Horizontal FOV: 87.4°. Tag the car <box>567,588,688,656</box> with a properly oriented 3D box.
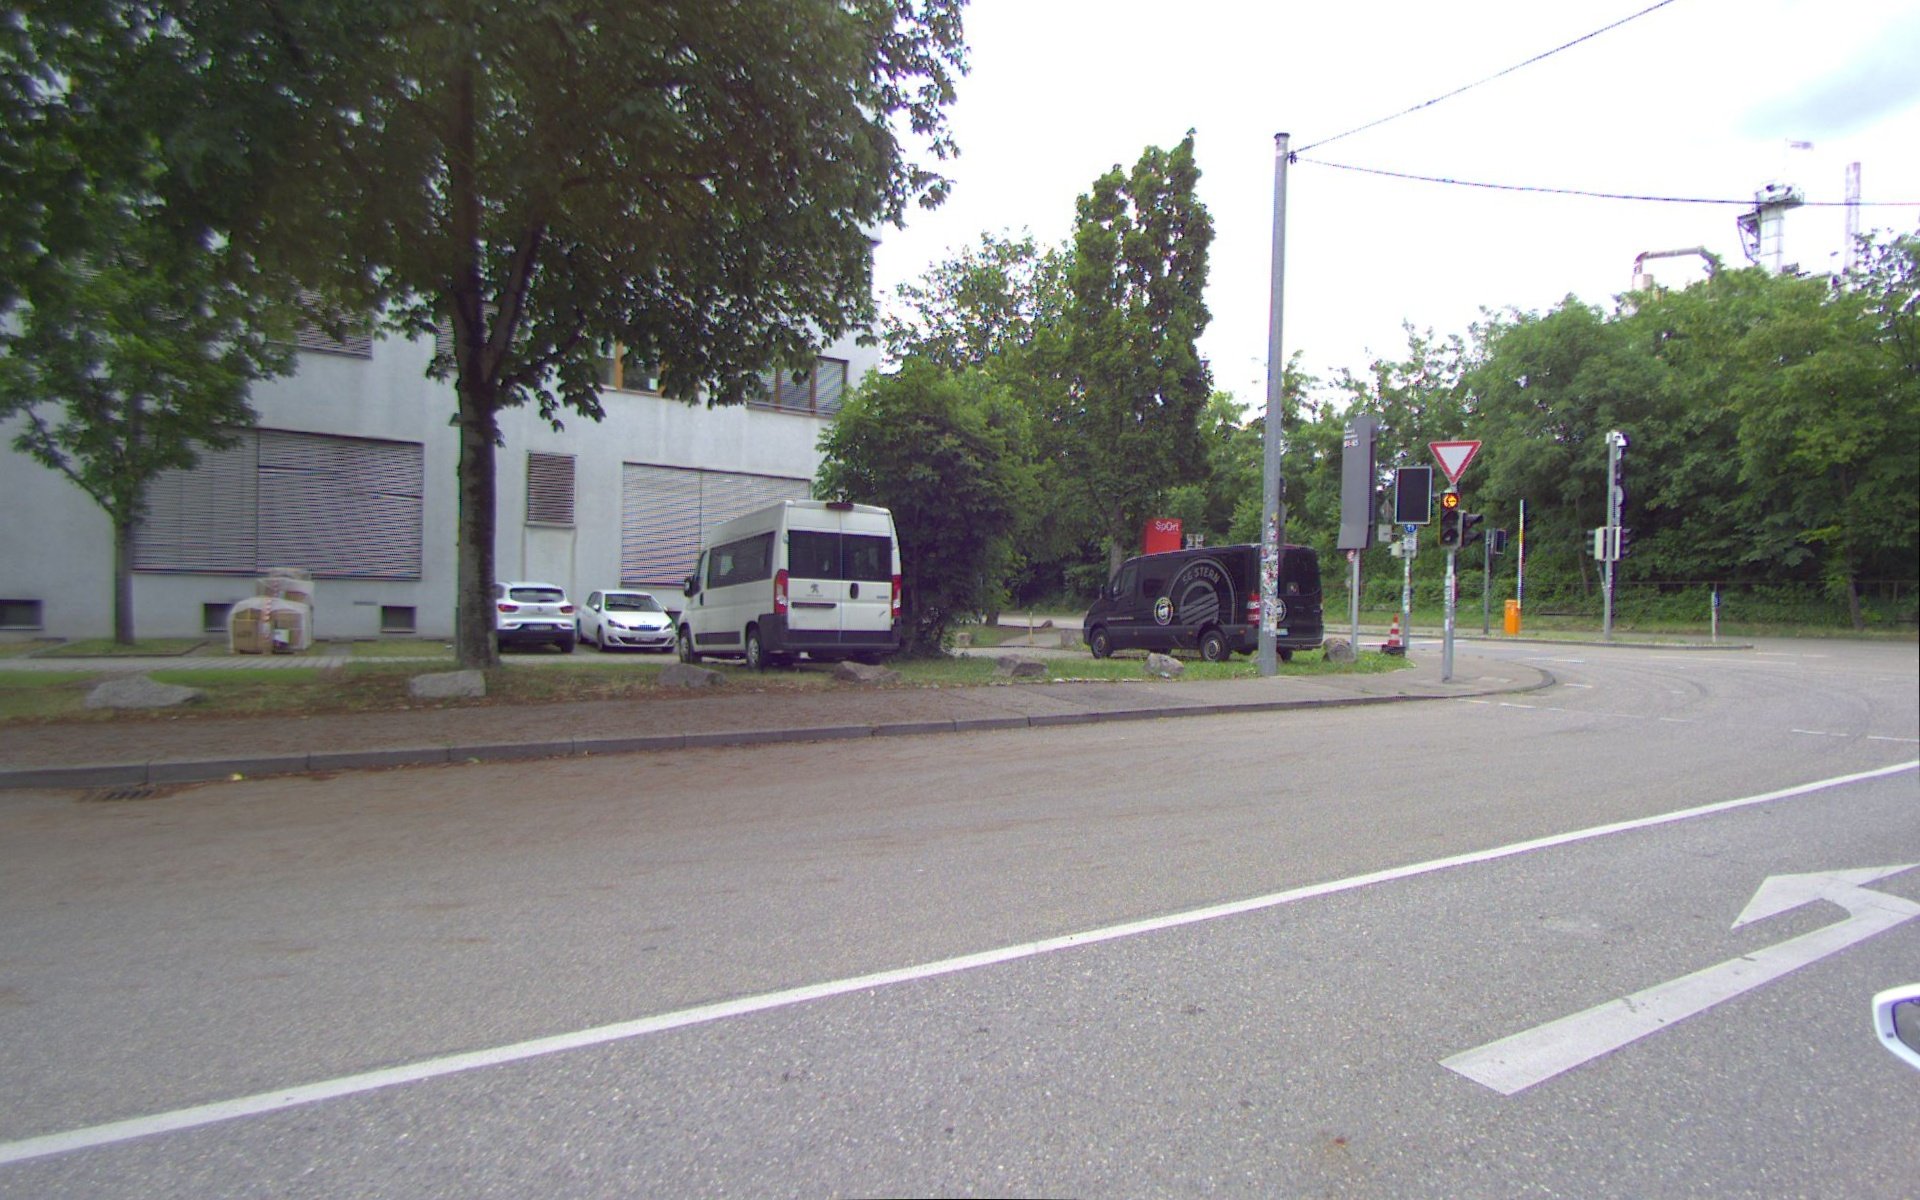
[{"bbox_3d":[-8.524,0.525,25.561,1.881,1.475,3.972,3,0,-34],"label":"car"}]

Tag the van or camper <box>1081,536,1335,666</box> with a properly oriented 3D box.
[{"bbox_3d":[5.010,0.124,21.256,2.036,2.343,5.513,3,-3,-28],"label":"van or camper"}]

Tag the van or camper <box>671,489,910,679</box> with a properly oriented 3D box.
[{"bbox_3d":[-2.947,-0.237,16.377,2.039,2.604,4.943,3,0,-32],"label":"van or camper"}]

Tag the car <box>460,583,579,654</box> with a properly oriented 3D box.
[{"bbox_3d":[-10.576,0.402,23.974,1.881,1.475,3.972,3,0,-34],"label":"car"}]
